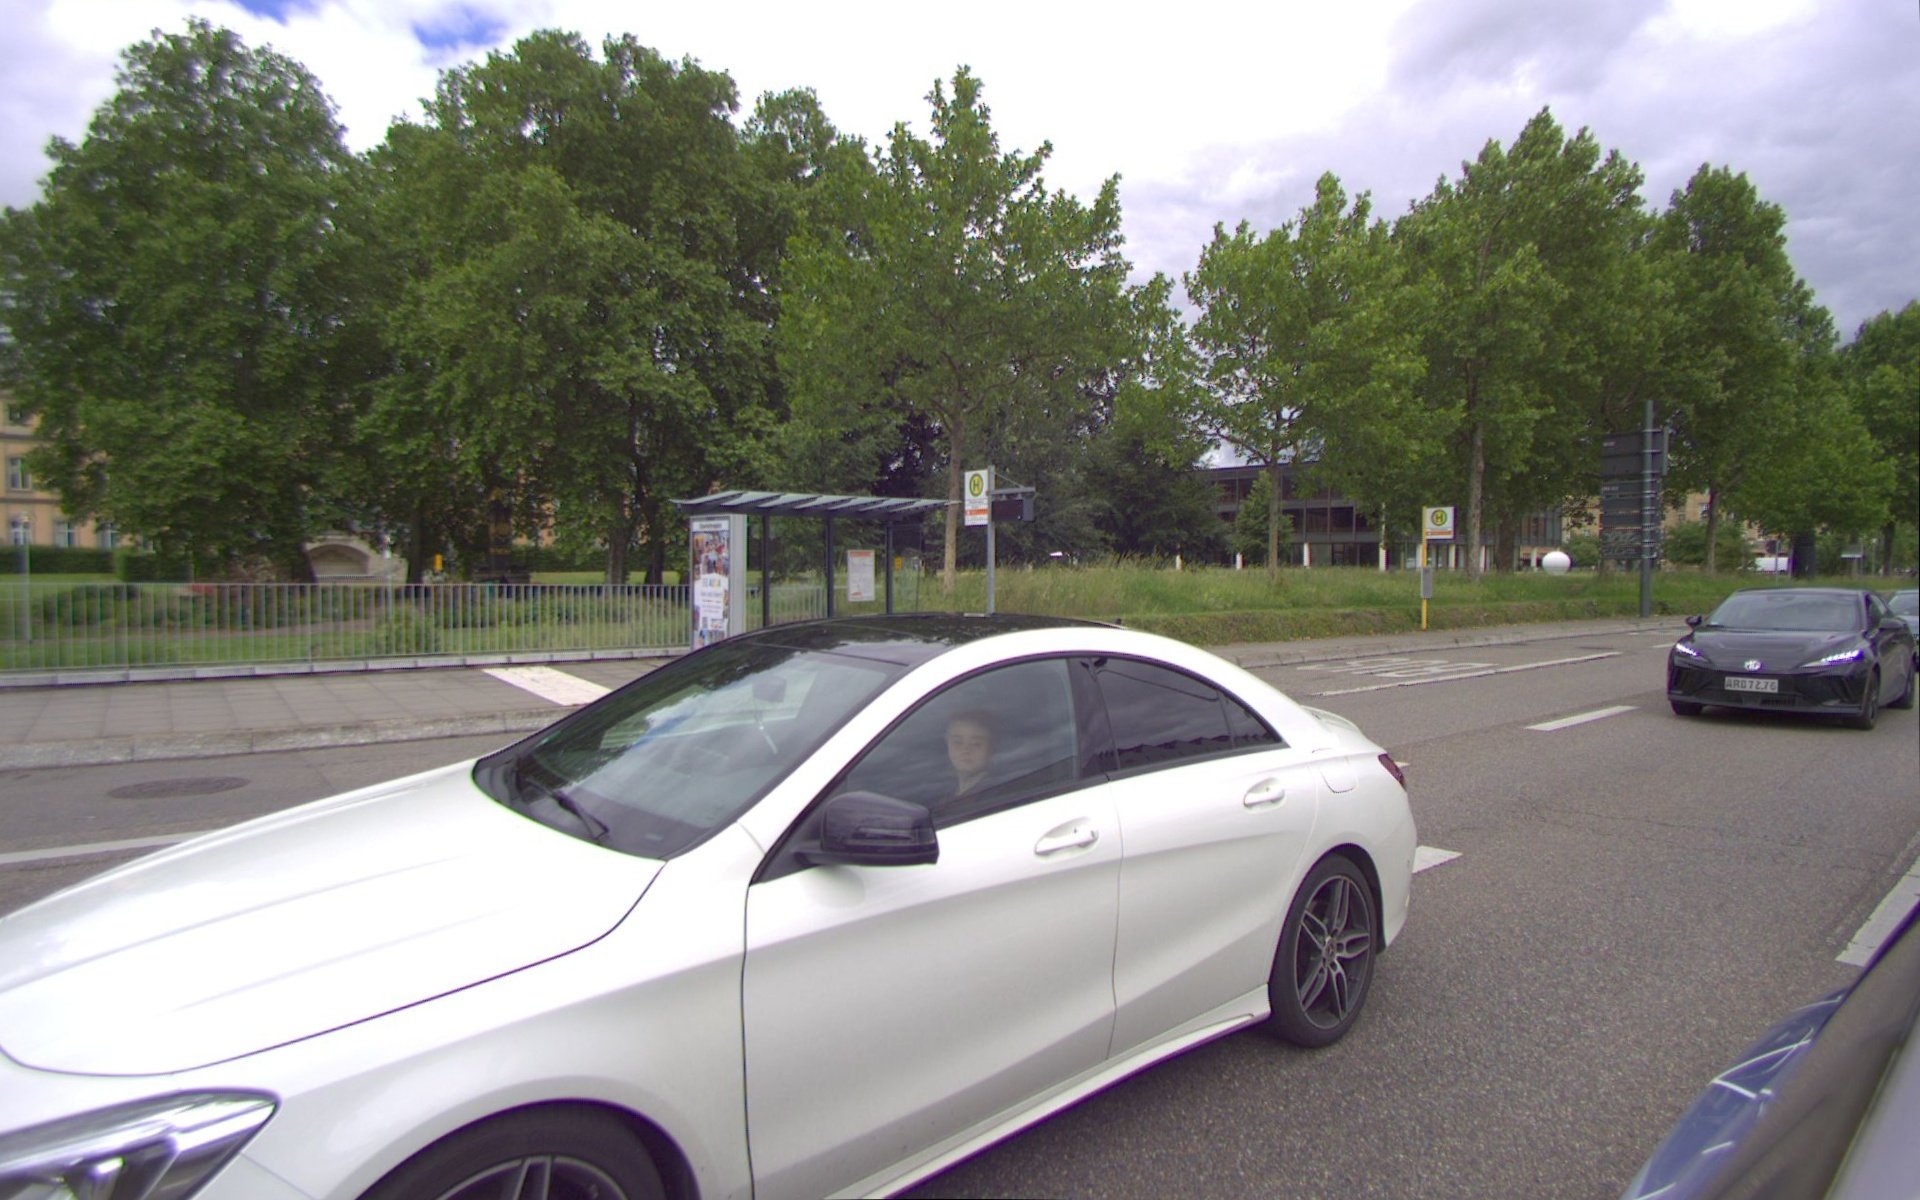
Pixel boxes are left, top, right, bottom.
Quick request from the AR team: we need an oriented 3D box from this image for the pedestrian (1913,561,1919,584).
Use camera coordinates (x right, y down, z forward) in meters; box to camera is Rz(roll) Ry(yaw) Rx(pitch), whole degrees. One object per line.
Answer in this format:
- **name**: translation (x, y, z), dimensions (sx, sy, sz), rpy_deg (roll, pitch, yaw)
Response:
- **pedestrian**: translation (82.951, -2.384, 87.290), dimensions (1.160, 2.039, 0.891), rpy_deg (-2, 0, -40)

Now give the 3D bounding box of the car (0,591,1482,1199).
- **car**: translation (-0.263, 0.734, 3.206), dimensions (4.446, 1.437, 1.799), rpy_deg (-1, 2, -39)

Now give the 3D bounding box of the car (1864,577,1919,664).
- **car**: translation (17.944, 0.327, 18.303), dimensions (3.944, 1.452, 1.804), rpy_deg (-1, 2, -40)

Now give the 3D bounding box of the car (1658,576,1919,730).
- **car**: translation (10.036, 0.480, 12.037), dimensions (4.020, 1.508, 1.852), rpy_deg (-1, 2, -40)
